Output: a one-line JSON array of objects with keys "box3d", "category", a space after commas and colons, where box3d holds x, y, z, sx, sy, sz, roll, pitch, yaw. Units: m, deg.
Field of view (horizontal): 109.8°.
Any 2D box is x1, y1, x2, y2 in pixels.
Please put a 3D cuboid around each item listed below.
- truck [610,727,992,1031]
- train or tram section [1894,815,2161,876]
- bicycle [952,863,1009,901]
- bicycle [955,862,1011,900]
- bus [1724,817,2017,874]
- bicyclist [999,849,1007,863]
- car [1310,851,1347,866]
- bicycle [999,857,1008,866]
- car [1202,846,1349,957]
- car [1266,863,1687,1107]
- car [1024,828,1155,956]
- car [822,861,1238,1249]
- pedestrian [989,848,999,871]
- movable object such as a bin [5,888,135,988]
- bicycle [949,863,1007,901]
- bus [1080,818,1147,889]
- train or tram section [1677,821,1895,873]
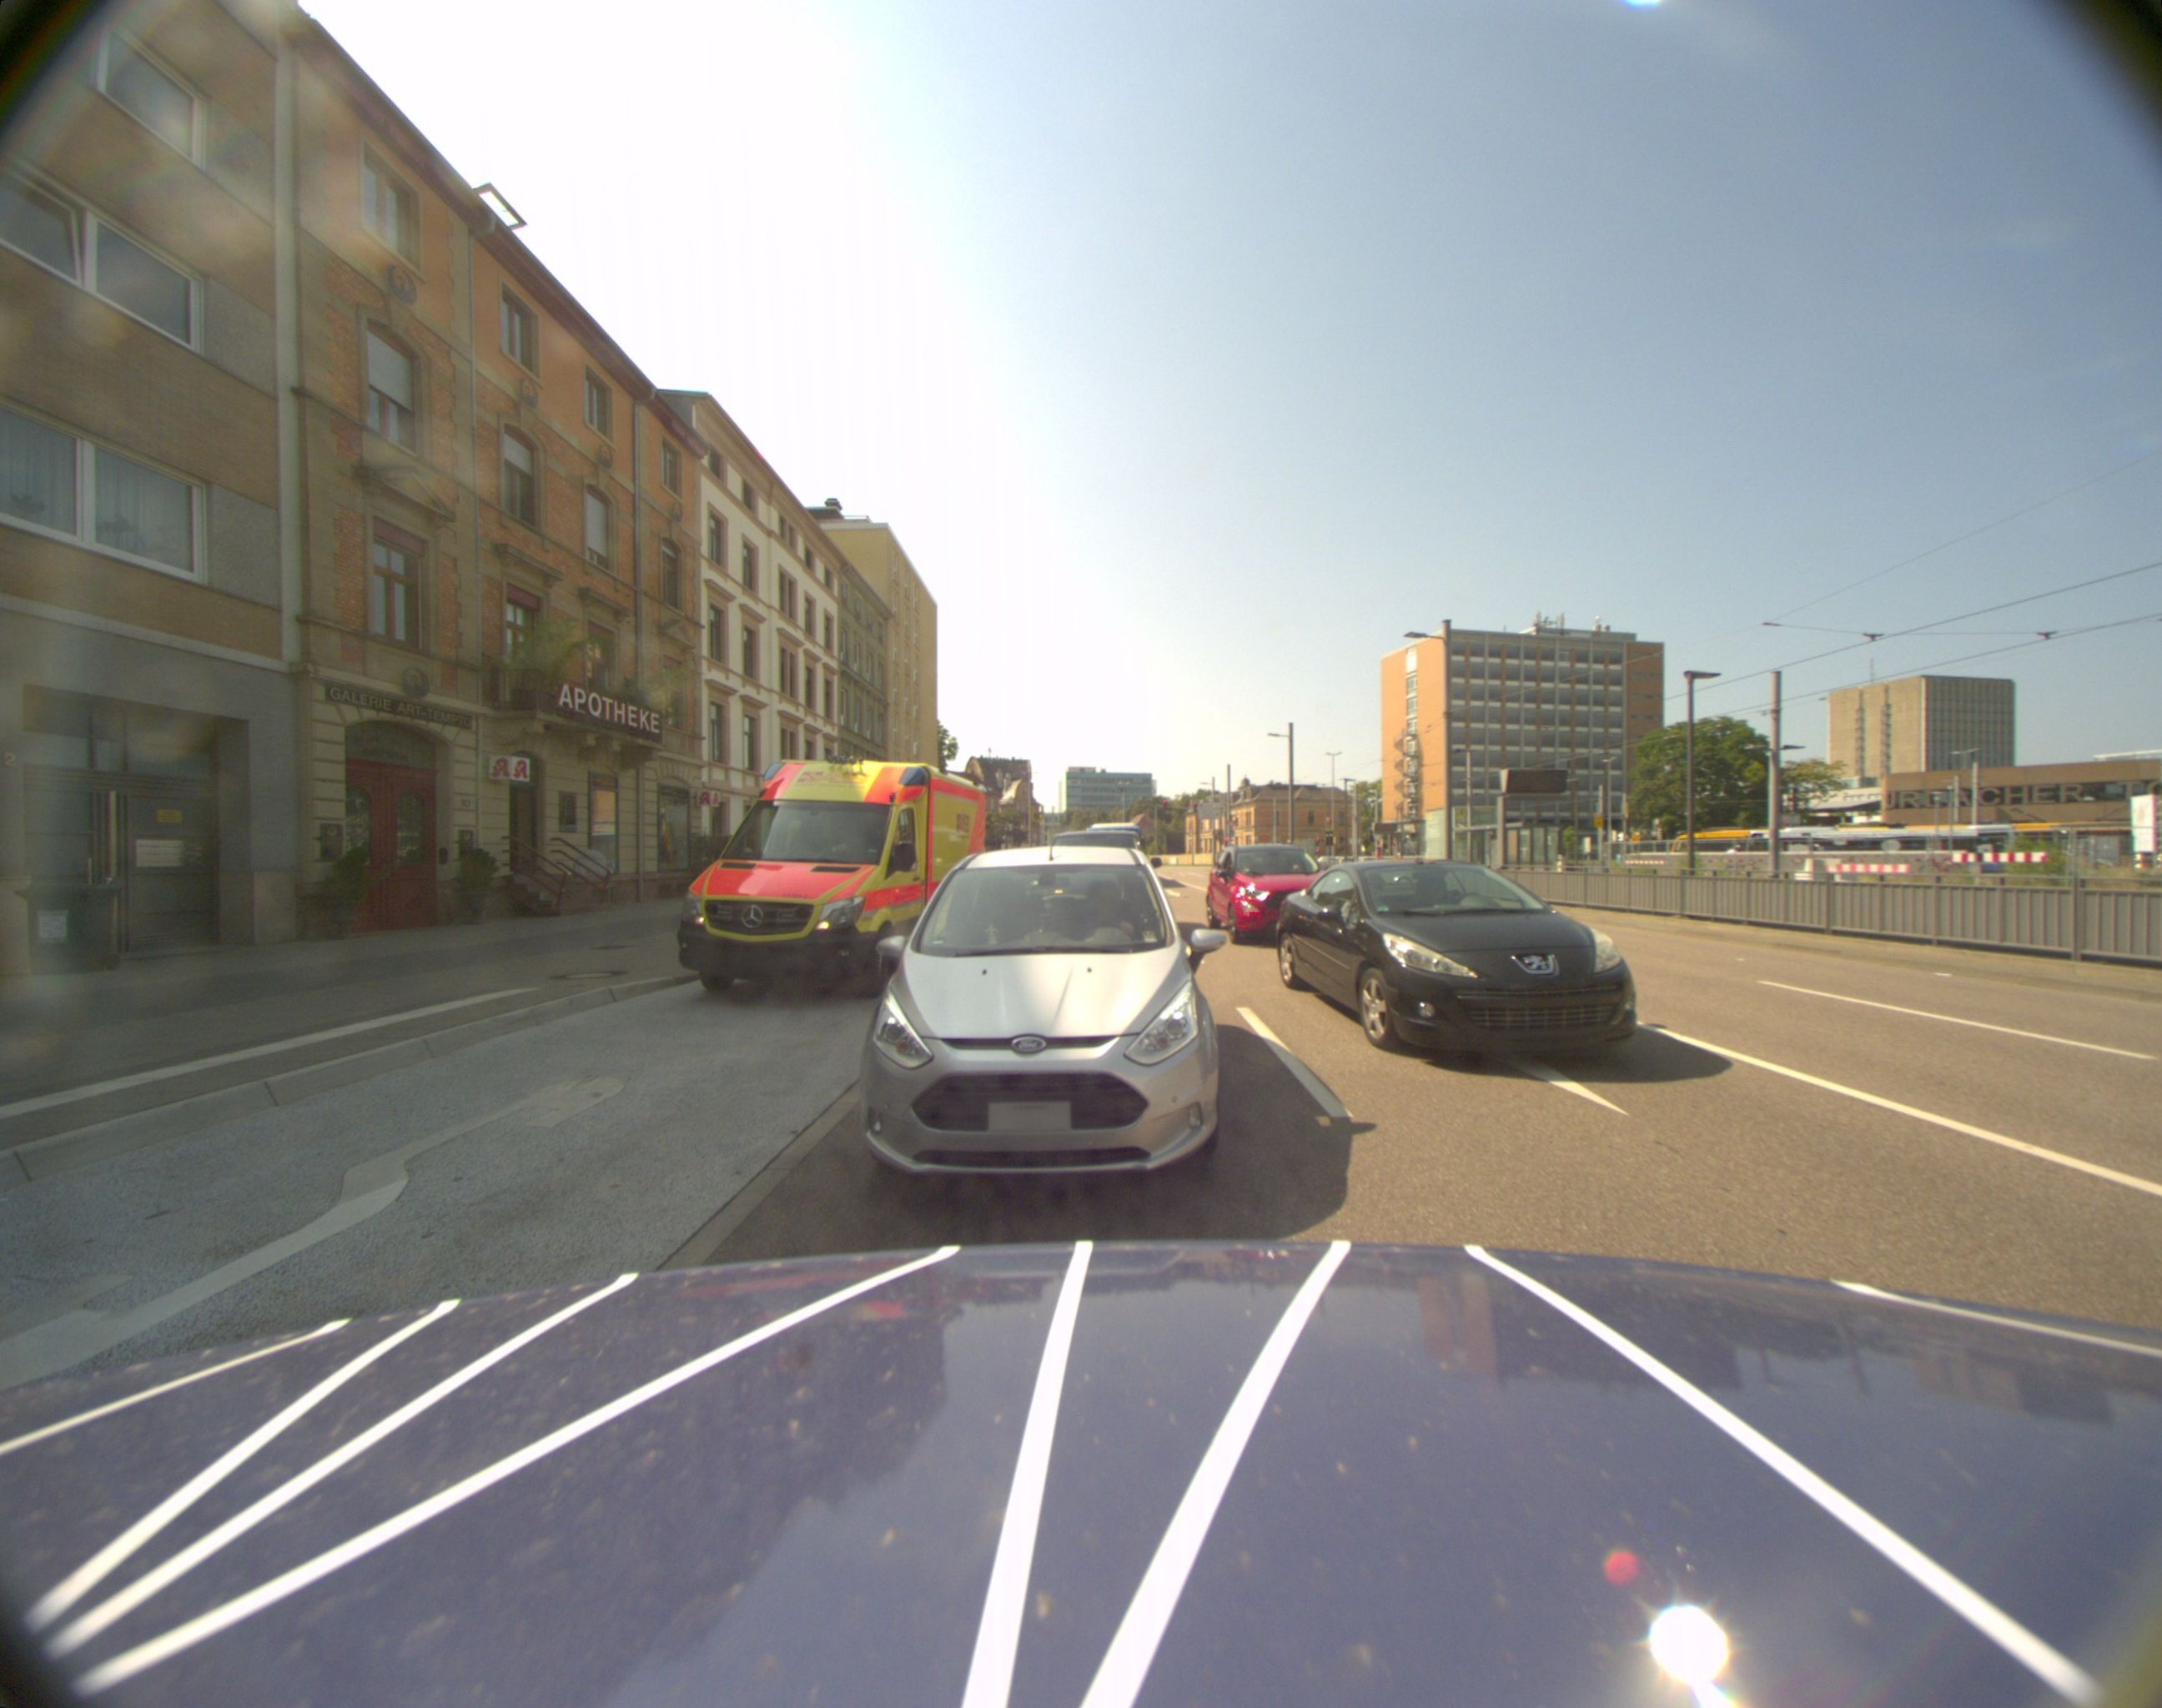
[{"box3d": [-3.010, 0.202, 10.240, 2.333, 2.754, 6.340, 2, 1, 4], "category": "truck"}, {"box3d": [63.266, -0.522, 50.654, 2.004, 3.743, 12.331, -1, 0, -45], "category": "train or tram section"}, {"box3d": [-3.393, 0.941, 25.762, 1.841, 1.196, 0.434, -2, 1, 1], "category": "bicycle"}, {"box3d": [-3.380, 0.926, 26.223, 1.841, 1.212, 0.434, -2, 1, 1], "category": "bicycle"}, {"box3d": [52.357, -0.429, 51.321, 3.357, 3.275, 13.371, -3, 0, -45], "category": "bus"}, {"box3d": [-8.413, 0.218, 82.138, 0.721, 1.577, 1.103, -1, 0, 2], "category": "bicyclist"}, {"box3d": [28.396, 0.489, 87.419, 3.874, 1.575, 1.690, -2, 0, 13], "category": "car"}, {"box3d": [-8.402, 0.777, 82.150, 0.721, 0.948, 2.001, -1, 0, 2], "category": "bicycle"}, {"box3d": [3.200, 0.697, 13.243, 1.634, 1.611, 3.968, -2, 0, 2], "category": "car"}, {"box3d": [2.914, 0.838, 6.610, 1.692, 1.405, 3.801, -2, 0, 1], "category": "car"}, {"box3d": [0.184, 0.586, 14.345, 1.998, 1.953, 4.816, -2, 0, 1], "category": "car"}, {"box3d": [-0.169, 0.878, 5.223, 1.728, 1.579, 4.000, -1, 0, 1], "category": "car"}, {"box3d": [-6.252, 0.374, 54.587, 0.645, 1.619, 0.796, 1, 1, 0], "category": "pedestrian"}, {"box3d": [-11.967, 0.970, 9.027, 0.648, 1.098, 0.727, 1, 0, -24], "category": "movable object such as a bin"}, {"box3d": [-3.421, 0.927, 25.325, 1.841, 1.196, 0.434, -2, 1, 1], "category": "bicycle"}, {"box3d": [1.879, -0.045, 40.577, 2.919, 3.119, 12.347, -2, 0, 4], "category": "bus"}, {"box3d": [54.548, -0.480, 59.406, 2.004, 3.743, 12.331, -1, 0, -45], "category": "train or tram section"}]
